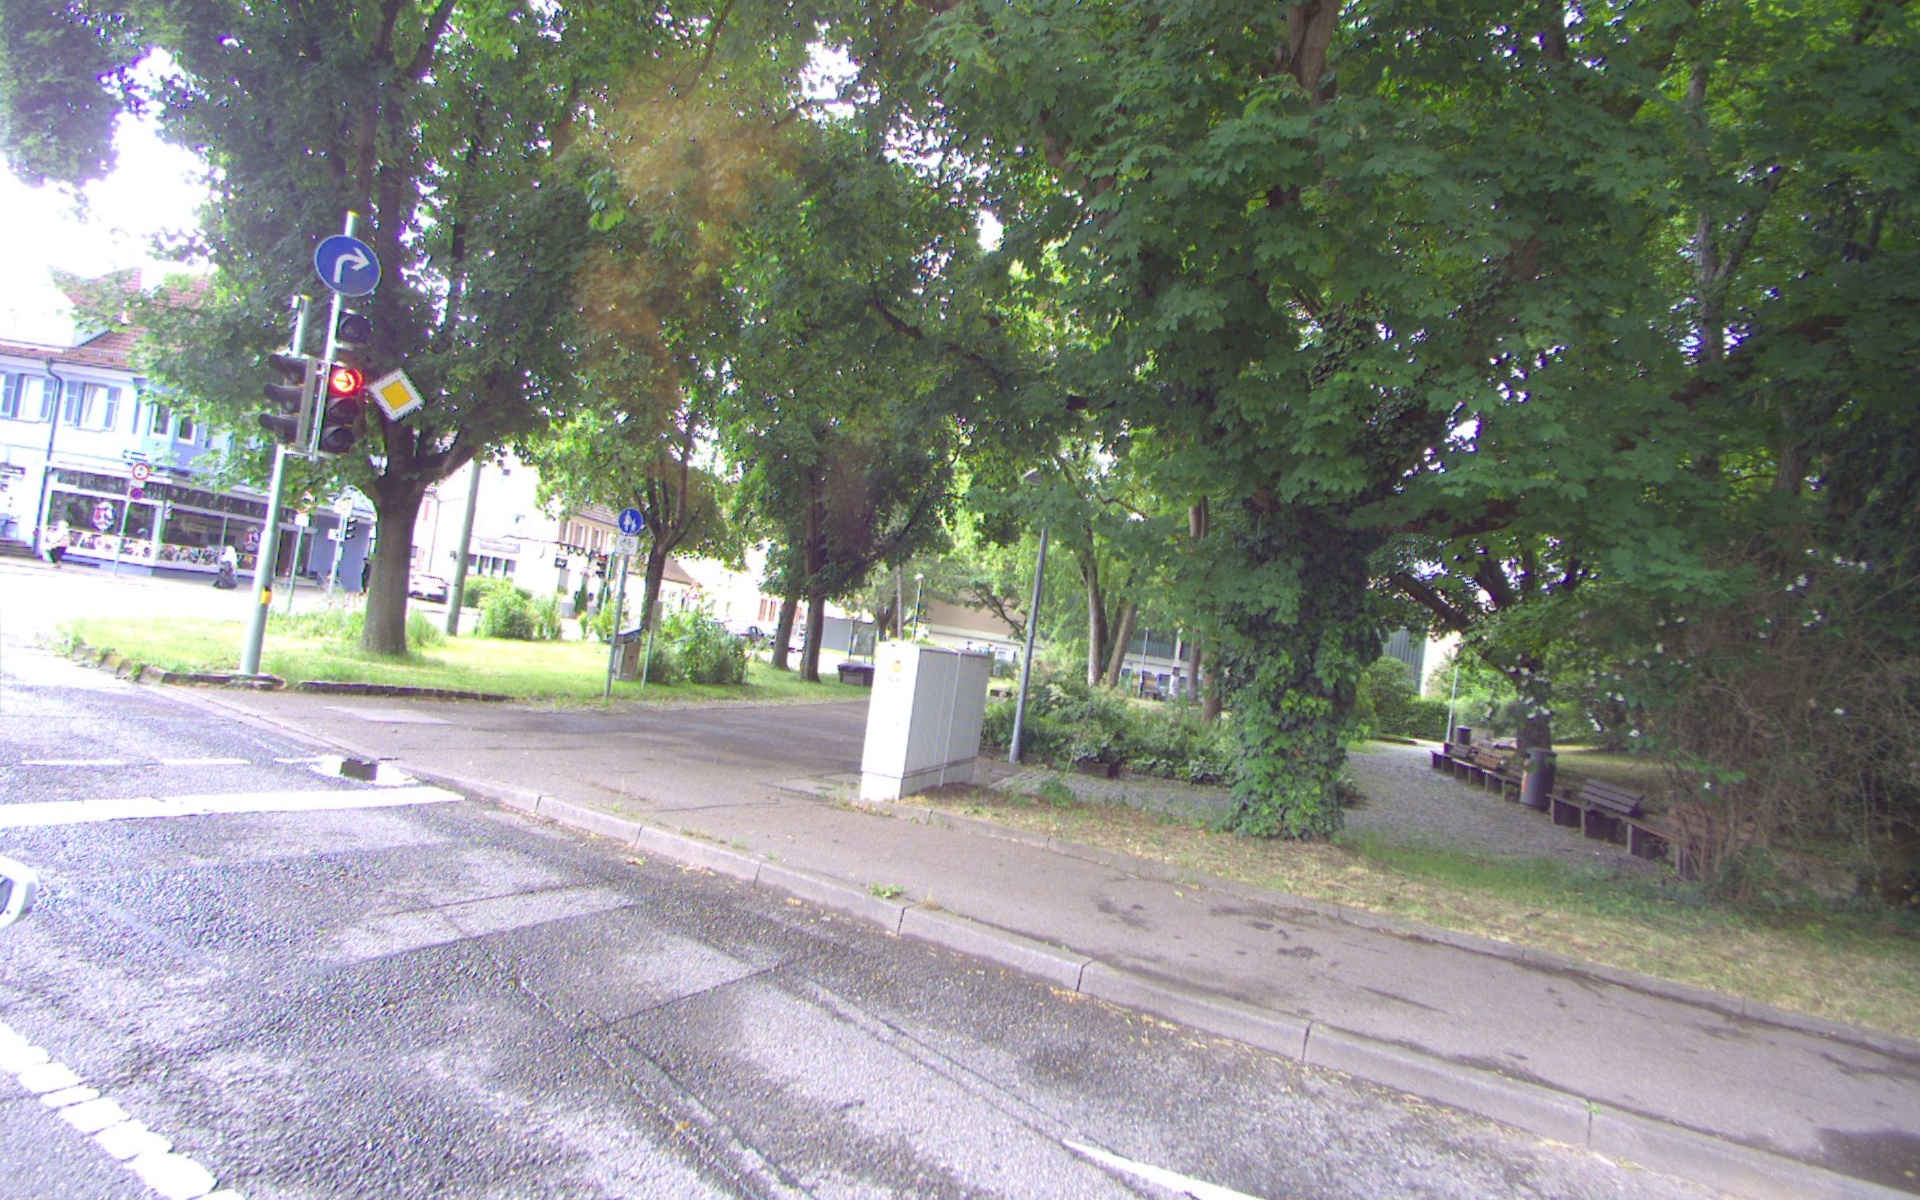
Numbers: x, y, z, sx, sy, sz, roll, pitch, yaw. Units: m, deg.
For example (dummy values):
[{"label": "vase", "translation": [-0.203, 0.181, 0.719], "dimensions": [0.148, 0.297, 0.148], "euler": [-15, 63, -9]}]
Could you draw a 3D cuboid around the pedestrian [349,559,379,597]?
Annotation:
[{"label": "pedestrian", "translation": [-26.853, -0.988, 45.350], "dimensions": [0.732, 1.578, 0.673], "euler": [6, -1, 17]}]

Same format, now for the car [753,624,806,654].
[{"label": "car", "translation": [-10.703, 2.334, 59.910], "dimensions": [1.618, 1.474, 3.740], "euler": [7, -2, 13]}]

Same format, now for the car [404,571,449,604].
[{"label": "car", "translation": [-28.177, -0.694, 53.162], "dimensions": [1.870, 1.406, 3.589], "euler": [9, -2, -28]}]

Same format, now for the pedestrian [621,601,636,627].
[{"label": "pedestrian", "translation": [-21.147, 0.915, 64.198], "dimensions": [0.500, 1.578, 0.505], "euler": [6, -1, 17]}]

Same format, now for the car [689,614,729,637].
[{"label": "car", "translation": [-18.984, 1.961, 76.192], "dimensions": [1.736, 1.463, 3.865], "euler": [7, -2, 2]}]

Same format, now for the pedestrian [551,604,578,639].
[{"label": "pedestrian", "translation": [-13.008, 0.709, 33.108], "dimensions": [0.506, 1.093, 0.507], "euler": [6, -1, 17]}]

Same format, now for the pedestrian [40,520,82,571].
[{"label": "pedestrian", "translation": [-30.236, -1.826, 33.860], "dimensions": [0.725, 1.578, 0.763], "euler": [7, -1, -27]}]

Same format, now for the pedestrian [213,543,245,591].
[{"label": "pedestrian", "translation": [-26.104, -1.171, 35.936], "dimensions": [0.688, 1.578, 0.662], "euler": [7, -1, -27]}]

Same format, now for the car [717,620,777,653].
[{"label": "car", "translation": [-11.566, 2.011, 54.936], "dimensions": [1.618, 1.474, 3.740], "euler": [7, -2, 13]}]

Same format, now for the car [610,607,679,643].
[{"label": "car", "translation": [-13.787, 1.128, 44.094], "dimensions": [1.436, 1.282, 3.014], "euler": [7, -2, 13]}]

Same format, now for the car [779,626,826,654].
[{"label": "car", "translation": [-10.278, 2.650, 66.042], "dimensions": [1.618, 1.474, 3.740], "euler": [7, -2, 13]}]
